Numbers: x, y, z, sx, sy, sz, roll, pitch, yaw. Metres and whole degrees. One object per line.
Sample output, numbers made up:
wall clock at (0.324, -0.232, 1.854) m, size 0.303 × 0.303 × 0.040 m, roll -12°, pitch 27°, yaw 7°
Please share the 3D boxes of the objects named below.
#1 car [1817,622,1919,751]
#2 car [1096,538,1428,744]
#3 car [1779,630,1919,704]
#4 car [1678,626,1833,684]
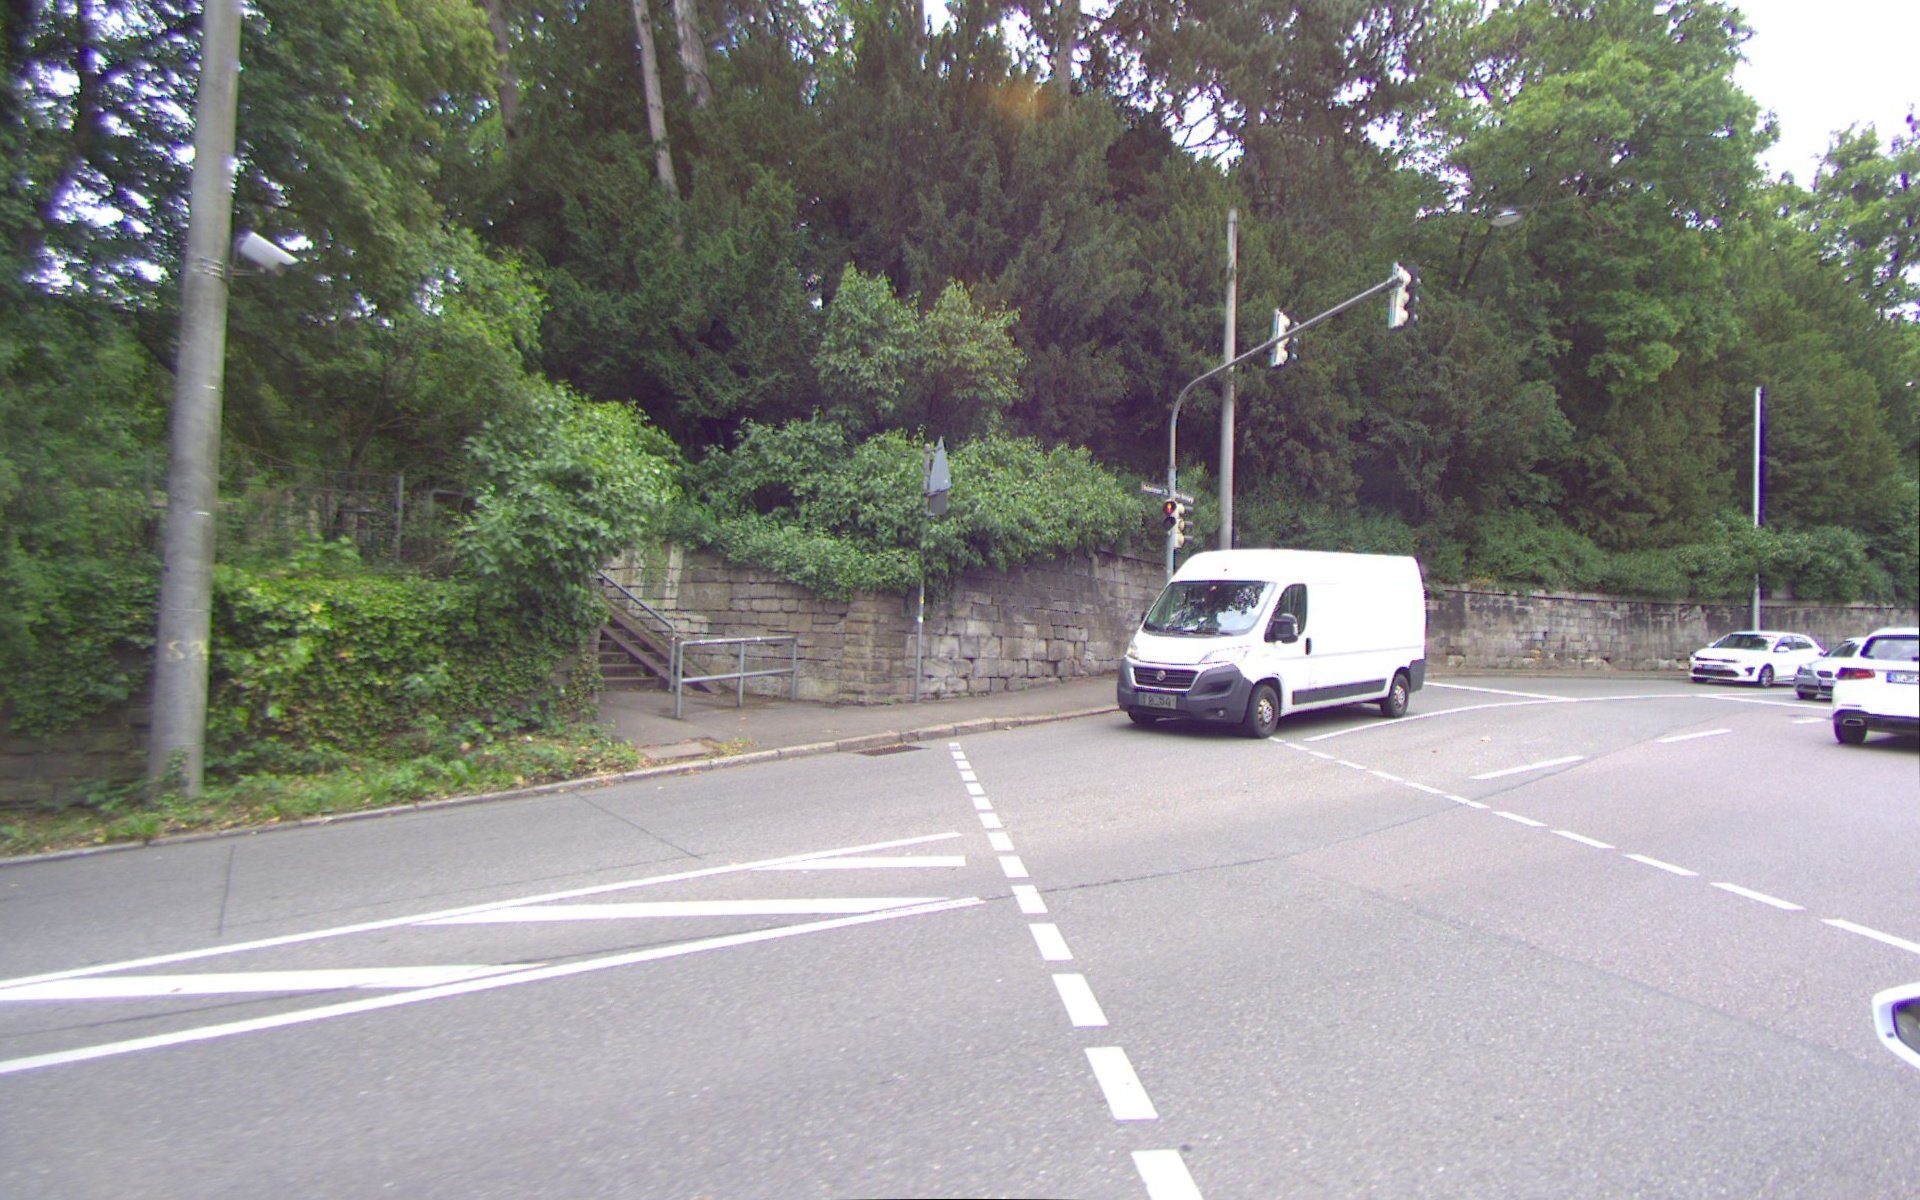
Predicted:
car at (14.078, 1.177, 14.246) m, size 4.624 × 1.627 × 1.847 m, roll 2°, pitch -1°, yaw -35°
car at (4.611, 0.492, 14.632) m, size 5.855 × 2.445 × 1.974 m, roll 0°, pitch 0°, yaw -44°
car at (20.849, 1.474, 22.943) m, size 4.424 × 1.461 × 1.749 m, roll 1°, pitch 1°, yaw -29°
car at (21.574, 1.465, 27.241) m, size 4.008 × 1.424 × 1.634 m, roll 1°, pitch 1°, yaw -25°
